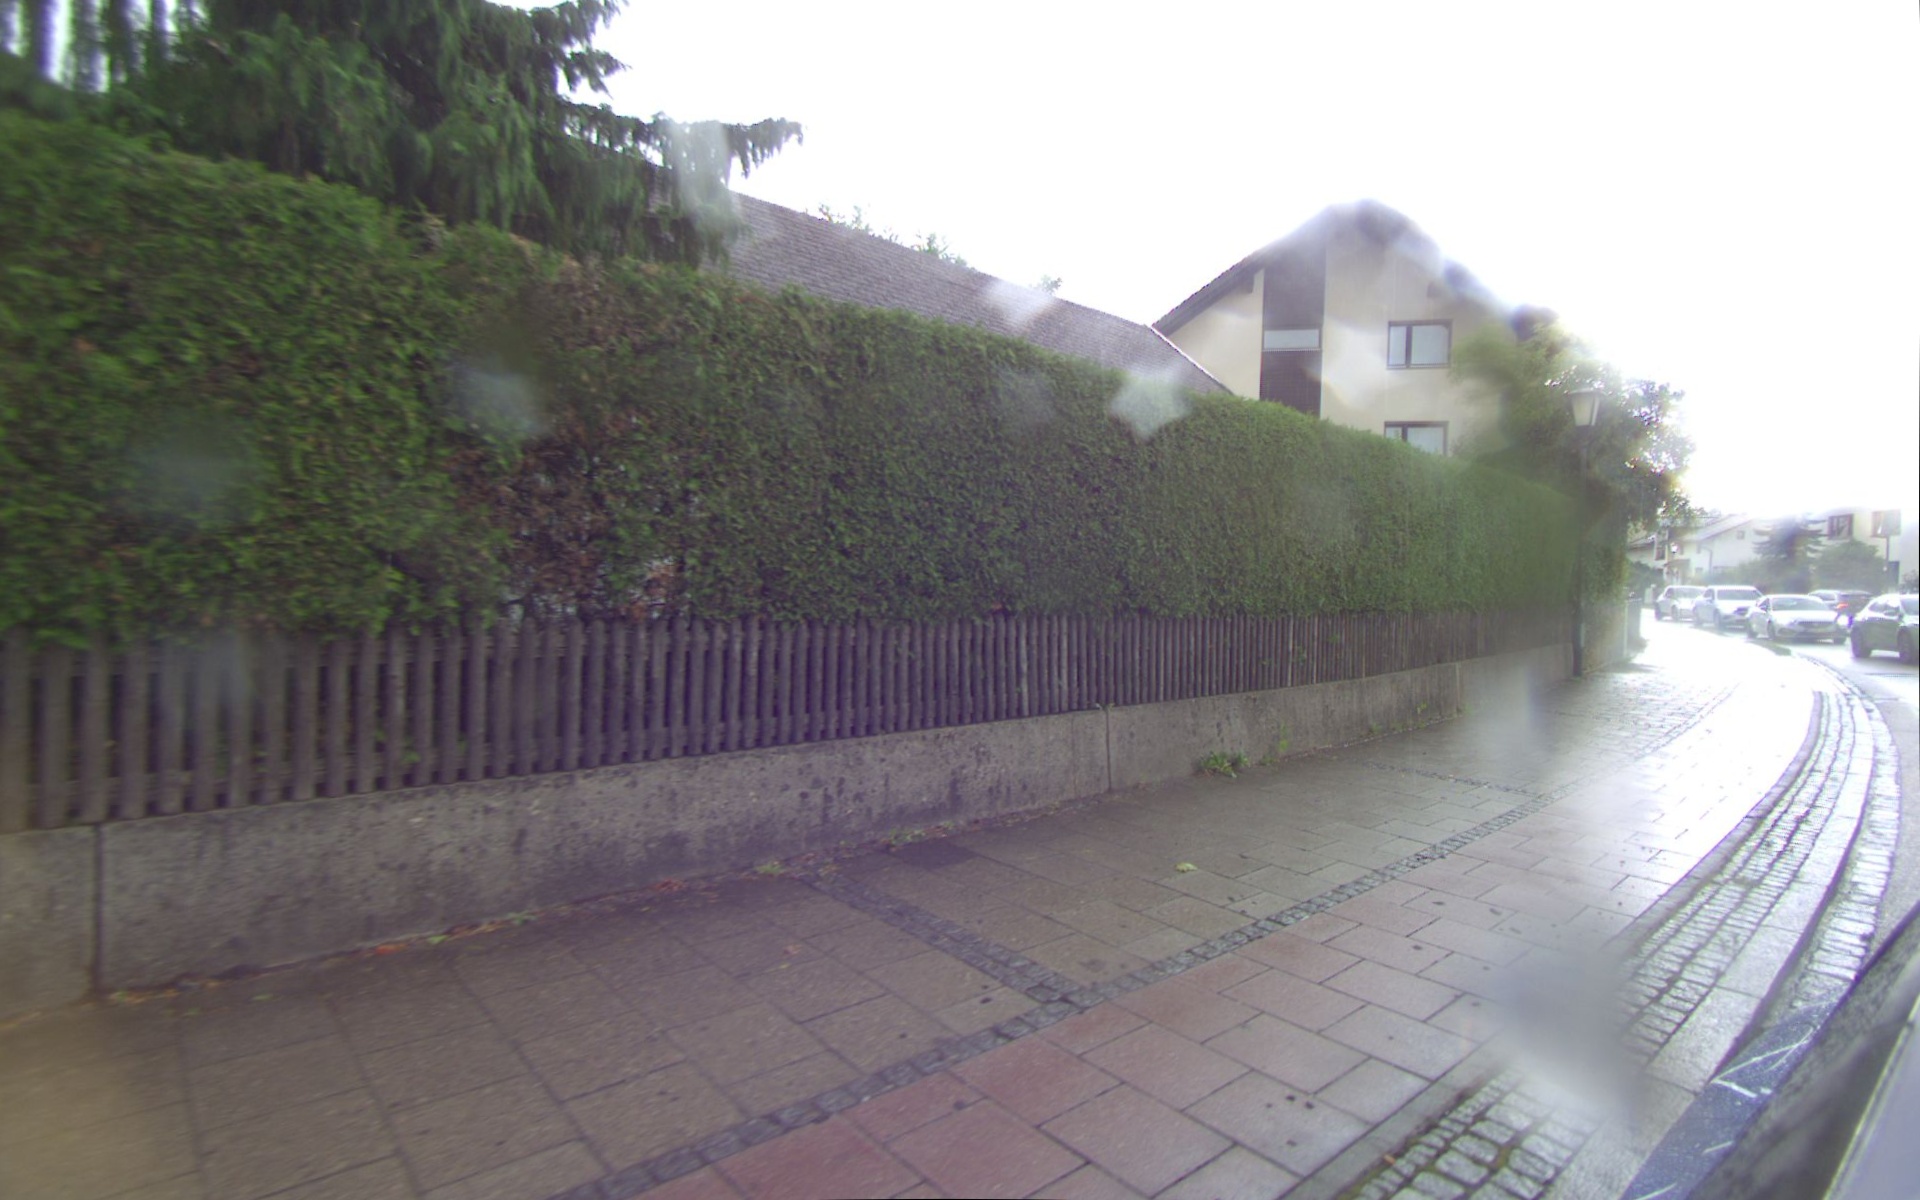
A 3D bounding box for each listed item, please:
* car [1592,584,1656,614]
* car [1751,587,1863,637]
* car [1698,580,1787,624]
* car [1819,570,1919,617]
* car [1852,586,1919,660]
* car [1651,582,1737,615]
[{"bbox_3d":[36.404,-0.086,55.586,1.770,1.568,4.258,-1,1,17],"label":"car"},{"bbox_3d":[26.069,0.322,31.289,1.778,1.412,4.240,0,1,28],"label":"car"},{"bbox_3d":[29.485,0.037,38.253,1.776,1.568,4.244,0,1,25],"label":"car"},{"bbox_3d":[36.138,-0.306,40.291,1.770,1.683,4.412,0,3,24],"label":"car"},{"bbox_3d":[21.842,0.443,22.742,1.781,1.497,5.326,0,1,31],"label":"car"},{"bbox_3d":[32.713,-0.097,45.218,1.770,1.390,4.258,0,1,17],"label":"car"}]
